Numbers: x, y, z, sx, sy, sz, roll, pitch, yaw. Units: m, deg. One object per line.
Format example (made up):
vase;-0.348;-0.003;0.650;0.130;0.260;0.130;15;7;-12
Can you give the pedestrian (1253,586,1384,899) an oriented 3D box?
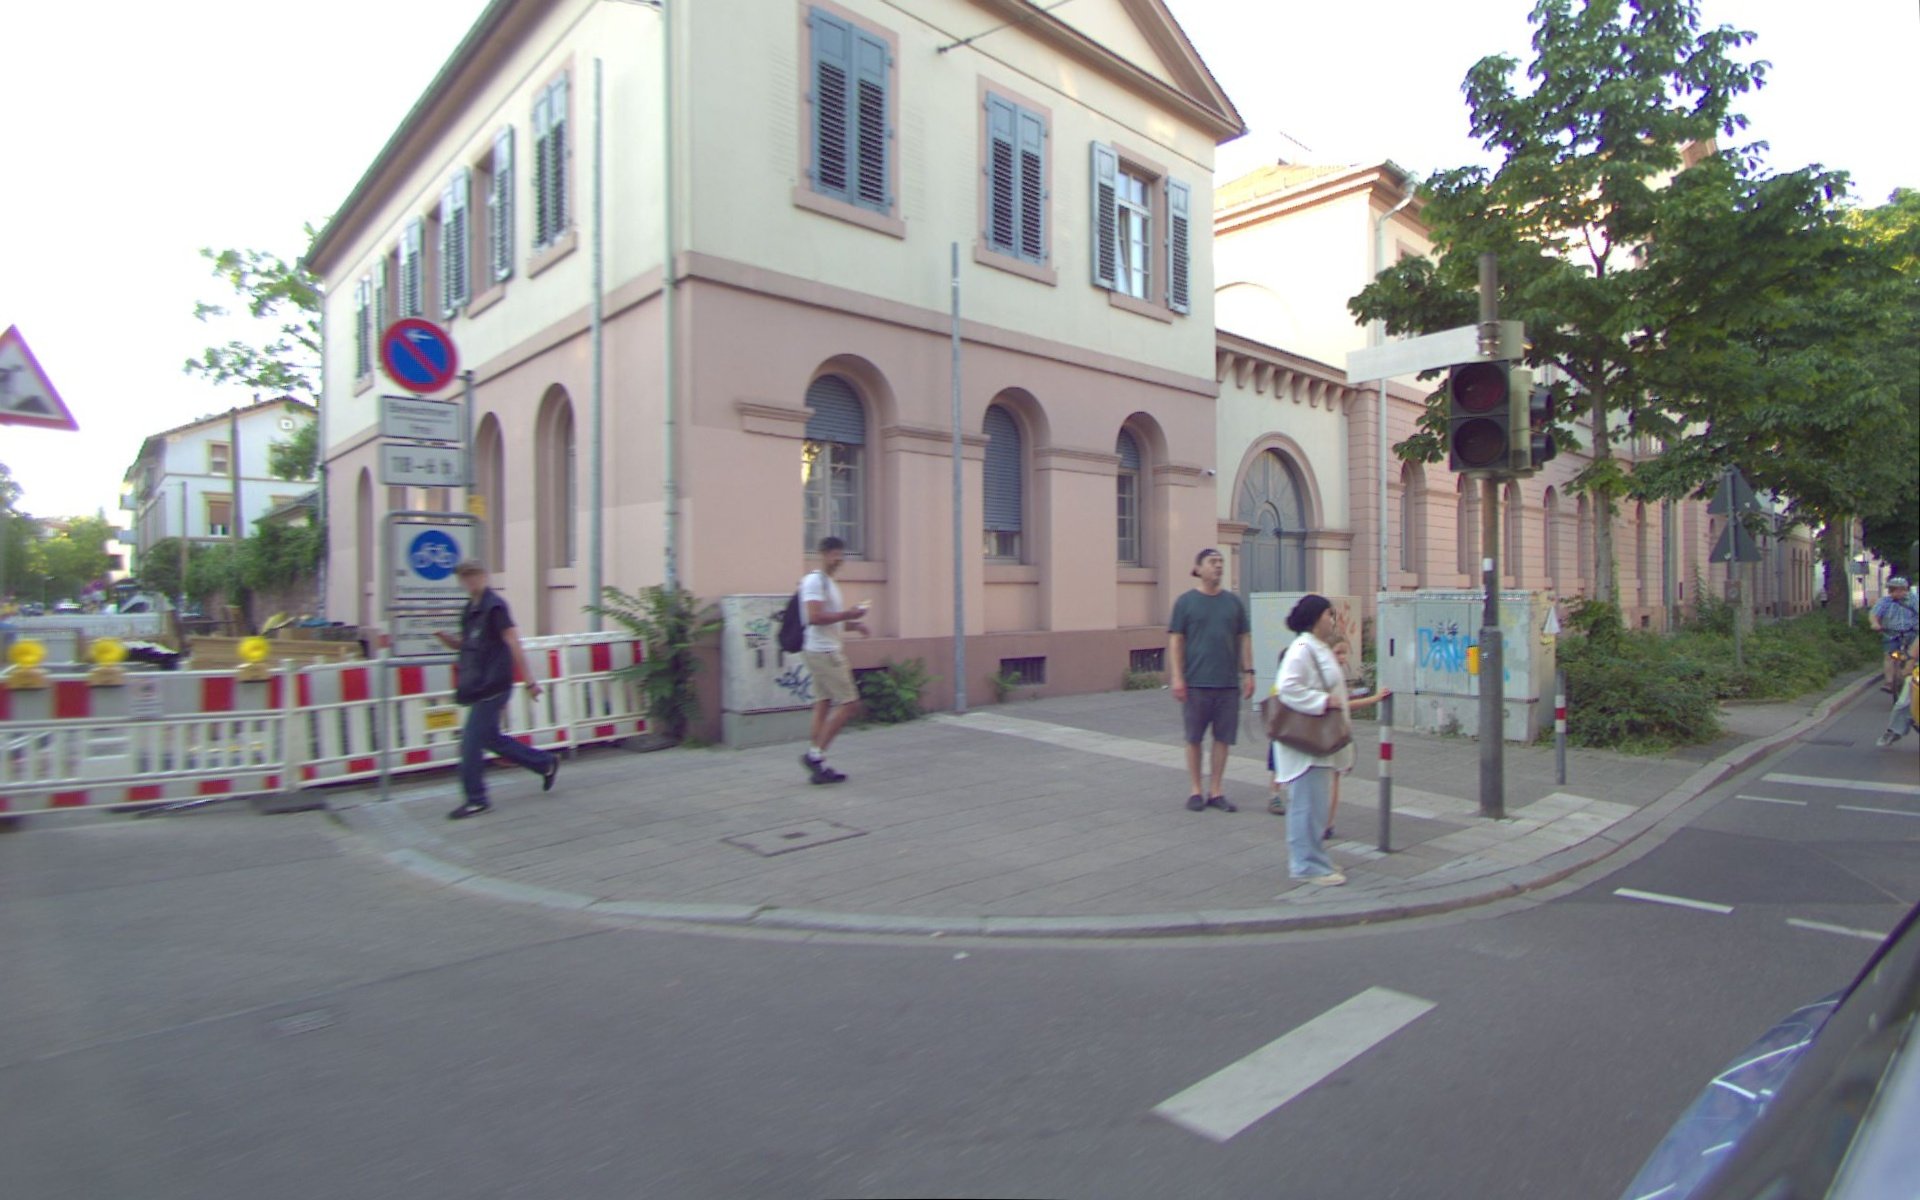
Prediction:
pedestrian;1.913;0.703;5.448;0.591;1.530;0.716;1;2;19

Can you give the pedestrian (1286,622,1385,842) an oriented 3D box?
pedestrian;2.320;0.792;6.293;0.444;1.277;0.489;1;1;7

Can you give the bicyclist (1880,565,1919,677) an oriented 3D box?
bicyclist;13.771;0.293;14.596;0.805;1.581;0.636;0;-3;-44

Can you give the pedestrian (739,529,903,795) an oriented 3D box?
pedestrian;-1.061;0.428;7.734;1.030;1.878;0.699;0;1;-37

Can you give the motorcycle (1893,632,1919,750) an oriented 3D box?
motorcycle;9.849;0.898;9.958;0.733;1.073;1.939;-1;0;36

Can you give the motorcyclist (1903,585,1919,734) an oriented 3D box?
motorcyclist;9.807;0.570;9.903;0.733;1.430;0.717;-1;0;36

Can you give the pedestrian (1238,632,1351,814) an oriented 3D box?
pedestrian;2.321;0.826;7.033;0.535;1.159;0.493;0;2;-31

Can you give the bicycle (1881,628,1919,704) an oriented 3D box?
bicycle;13.797;0.926;14.585;1.949;0.996;0.636;0;-2;-45

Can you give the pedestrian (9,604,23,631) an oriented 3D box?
pedestrian;-58.079;1.060;62.267;0.639;1.674;0.649;-1;0;-42

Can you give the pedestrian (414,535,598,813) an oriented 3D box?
pedestrian;-3.235;0.476;7.232;1.047;1.817;0.698;0;1;-42

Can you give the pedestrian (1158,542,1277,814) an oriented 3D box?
pedestrian;1.798;0.504;7.076;0.566;1.796;0.544;0;2;-41
